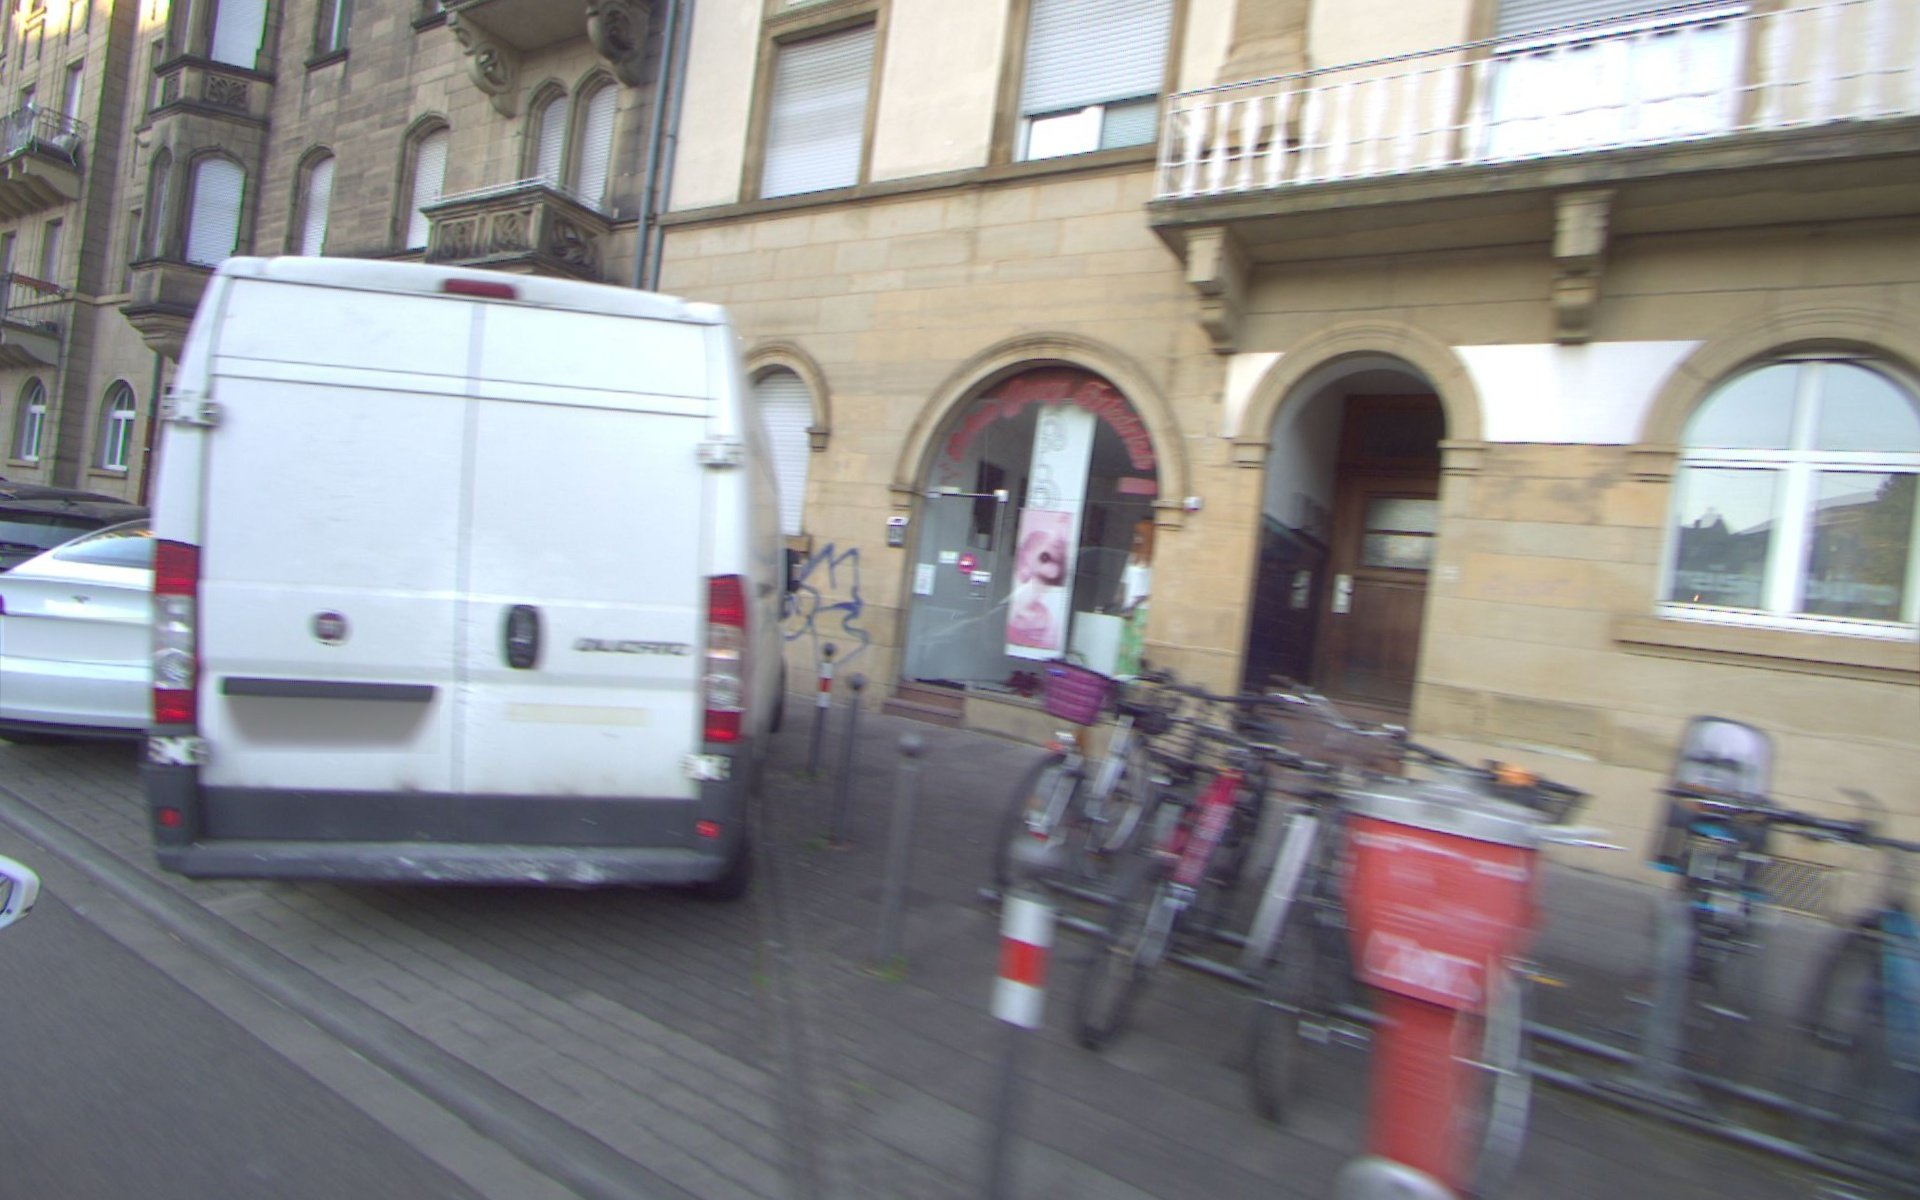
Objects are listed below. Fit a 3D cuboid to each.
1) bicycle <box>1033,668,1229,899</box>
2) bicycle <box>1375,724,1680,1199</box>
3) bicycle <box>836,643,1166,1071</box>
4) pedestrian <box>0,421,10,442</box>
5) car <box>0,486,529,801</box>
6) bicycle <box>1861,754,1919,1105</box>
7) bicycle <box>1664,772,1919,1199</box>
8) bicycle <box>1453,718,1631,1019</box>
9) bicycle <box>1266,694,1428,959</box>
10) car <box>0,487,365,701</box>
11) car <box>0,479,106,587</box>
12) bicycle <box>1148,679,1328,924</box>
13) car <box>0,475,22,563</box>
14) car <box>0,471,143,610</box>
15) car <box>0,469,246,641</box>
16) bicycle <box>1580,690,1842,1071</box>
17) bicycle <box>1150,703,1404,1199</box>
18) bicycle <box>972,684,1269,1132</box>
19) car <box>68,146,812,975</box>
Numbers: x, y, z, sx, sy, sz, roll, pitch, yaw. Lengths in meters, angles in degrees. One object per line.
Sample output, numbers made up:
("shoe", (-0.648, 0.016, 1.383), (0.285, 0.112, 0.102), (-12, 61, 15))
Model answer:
("bicycle", (1.066, 0.975, 5.901), (0.532, 1.023, 1.775), (8, 2, 27))
("bicycle", (1.776, 1.102, 3.399), (0.532, 1.102, 1.999), (8, 2, 23))
("bicycle", (0.296, 0.836, 4.097), (0.532, 1.220, 1.999), (8, 2, 23))
("pedestrian", (-23.074, -3.337, 23.352), (0.844, 2.018, 0.613), (9, -17, 35))
("car", (-4.853, 0.161, 7.182), (1.965, 1.471, 4.249), (6, 0, -6))
("bicycle", (3.765, 1.262, 3.363), (0.635, 1.217, 1.996), (8, 2, 32))
("bicycle", (2.612, 1.212, 2.817), (0.532, 1.102, 1.999), (8, 2, 23))
("bicycle", (2.834, 1.209, 5.031), (0.532, 1.023, 1.775), (8, 2, 27))
("bicycle", (2.147, 1.110, 5.447), (0.532, 1.023, 1.775), (8, 2, 27))
("car", (-7.277, -0.138, 9.018), (1.842, 1.465, 3.909), (5, 1, -7))
("car", (-14.400, -1.028, 13.928), (1.722, 1.517, 4.053), (6, 1, -3))
("bicycle", (1.631, 1.033, 5.693), (0.532, 1.023, 1.775), (8, 2, 27))
("car", (-16.771, -1.401, 14.964), (1.834, 1.450, 4.030), (6, 1, -2))
("car", (-12.105, -0.796, 11.844), (1.784, 1.628, 4.093), (6, 1, -5))
("car", (-9.822, -0.534, 10.932), (1.687, 1.565, 3.908), (5, 1, -9))
("bicycle", (3.400, 1.149, 4.720), (0.532, 1.290, 1.775), (8, 2, 27))
("bicycle", (1.238, 1.034, 3.639), (0.532, 1.102, 1.999), (8, 2, 23))
("bicycle", (0.734, 0.967, 3.881), (0.532, 1.102, 1.999), (8, 2, 23))
("car", (-2.132, -0.102, 6.299), (2.158, 2.584, 5.875), (5, 1, -8))
